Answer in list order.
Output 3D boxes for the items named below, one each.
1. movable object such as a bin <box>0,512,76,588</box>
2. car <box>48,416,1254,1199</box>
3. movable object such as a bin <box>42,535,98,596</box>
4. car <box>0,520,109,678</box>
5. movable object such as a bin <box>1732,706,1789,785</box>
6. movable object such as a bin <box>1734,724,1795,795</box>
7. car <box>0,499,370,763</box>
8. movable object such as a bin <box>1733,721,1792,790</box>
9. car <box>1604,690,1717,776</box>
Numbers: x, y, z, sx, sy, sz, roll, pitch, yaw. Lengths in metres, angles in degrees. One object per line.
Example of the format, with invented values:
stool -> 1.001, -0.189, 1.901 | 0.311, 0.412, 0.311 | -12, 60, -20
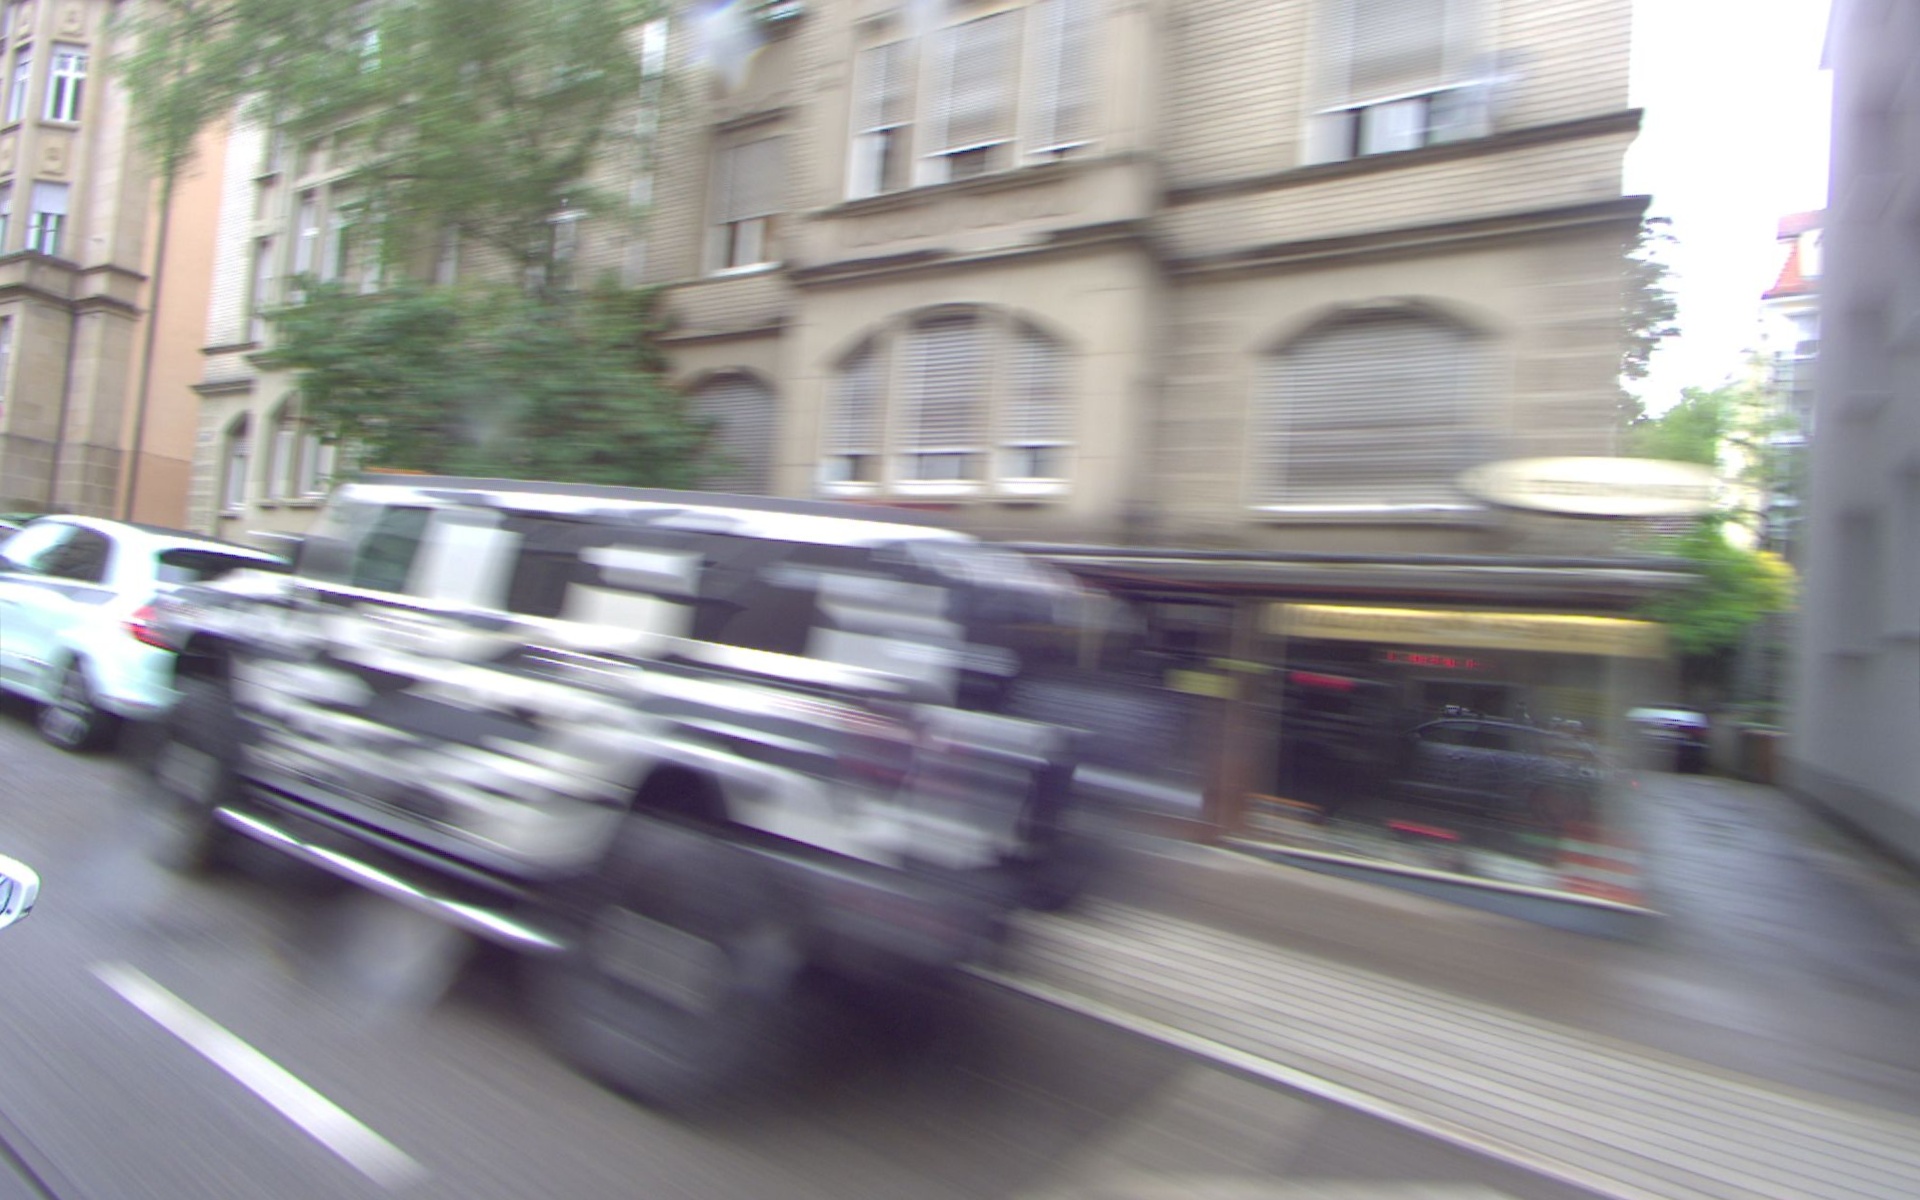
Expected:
movable object such as a bin -> -20.827, -1.127, 22.502 | 1.257, 1.445, 0.976 | 6, -6, 27
car -> -1.635, 0.487, 4.714 | 5.259, 2.035, 2.137 | 7, -4, 29
movable object such as a bin -> -17.155, -0.662, 19.392 | 0.654, 1.040, 0.529 | 6, -6, 36
car -> -10.919, -0.272, 10.384 | 4.402, 1.415, 1.755 | 7, -4, 30
movable object such as a bin -> 15.004, 2.708, 18.883 | 0.730, 1.363, 0.739 | 1, -2, 31
movable object such as a bin -> 14.061, 2.767, 17.604 | 0.730, 1.124, 0.739 | 1, -2, 31
car -> -6.546, 0.170, 7.855 | 3.522, 1.562, 1.566 | 7, -4, 28
movable object such as a bin -> 14.526, 2.801, 18.233 | 0.730, 1.124, 0.739 | 1, -2, 31
car -> 15.195, 2.845, 21.995 | 1.771, 1.527, 3.992 | 4, -3, 33
